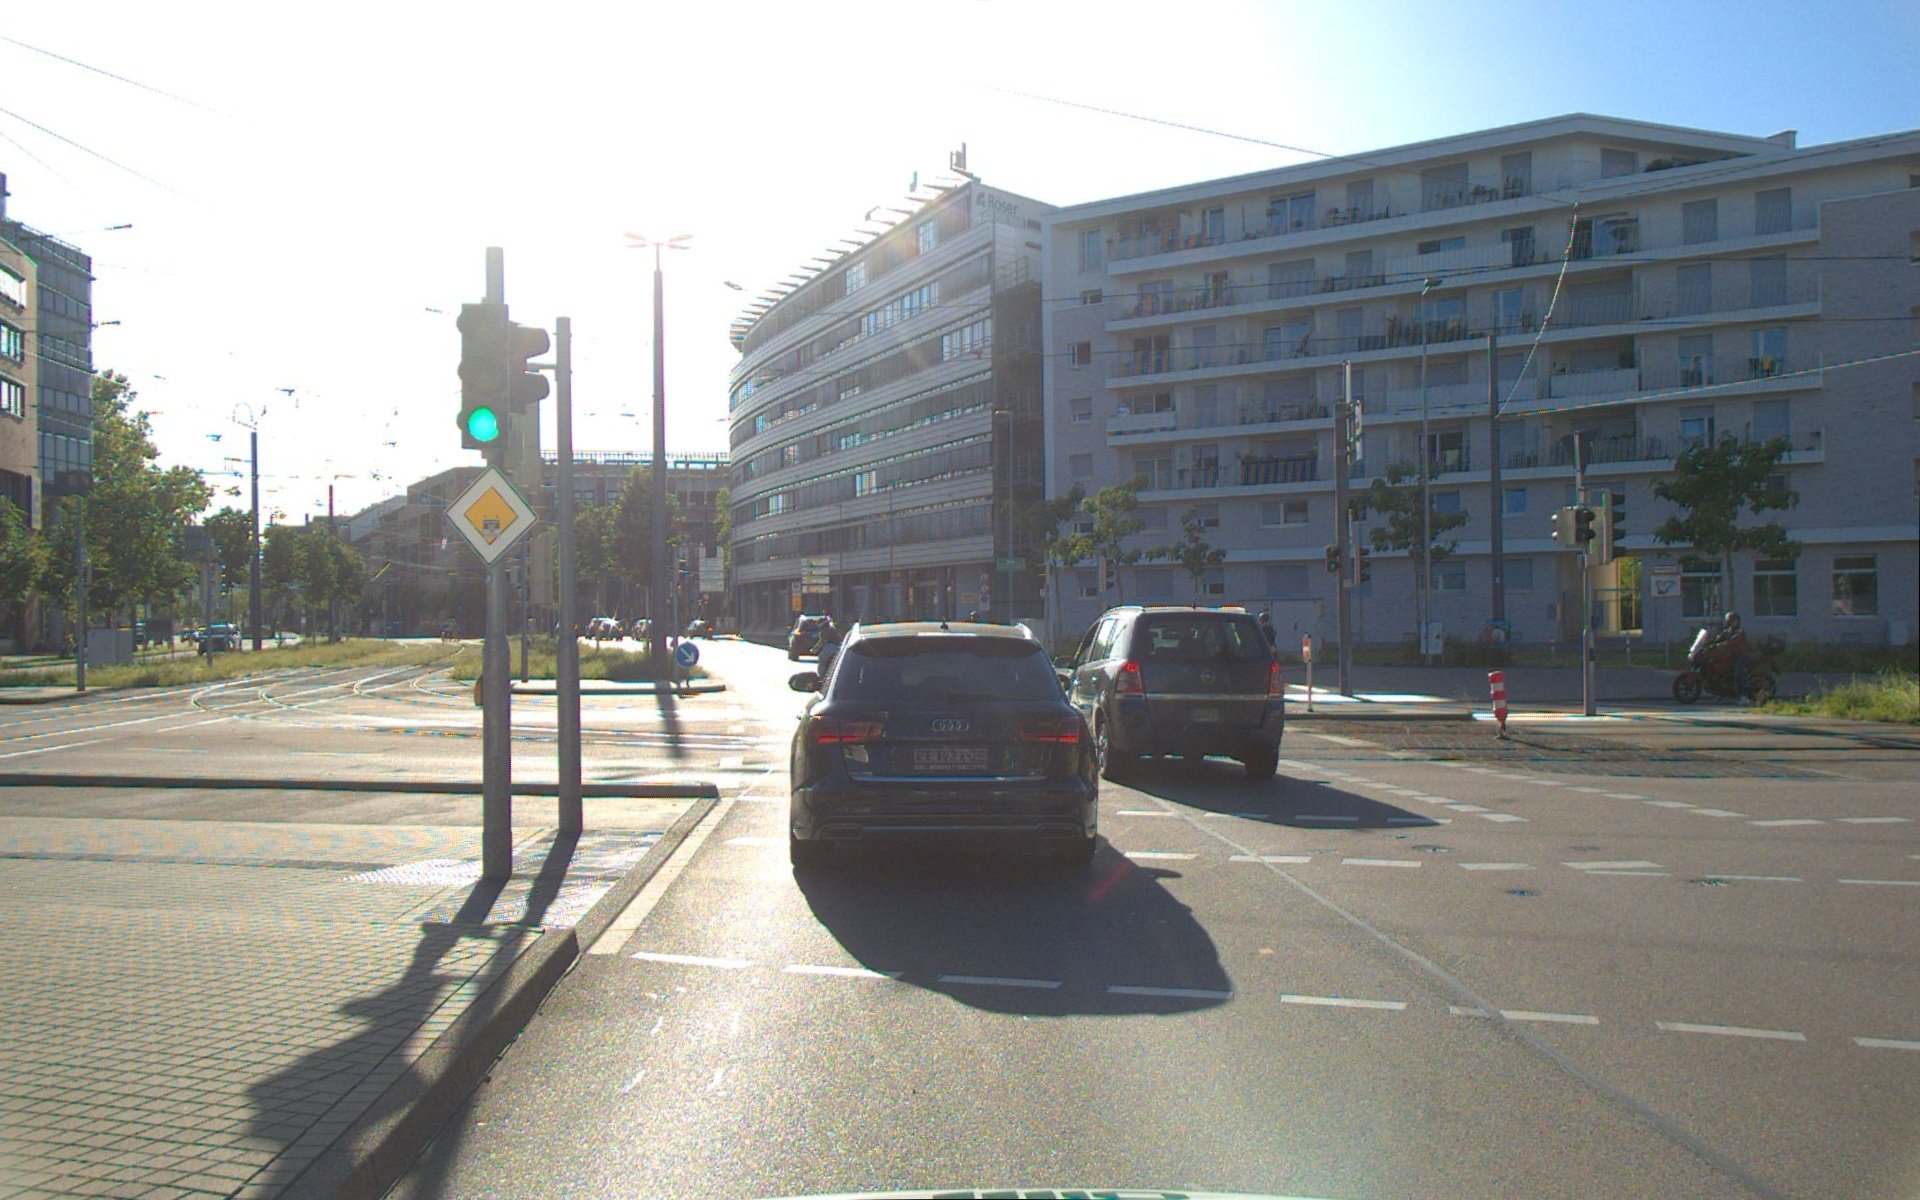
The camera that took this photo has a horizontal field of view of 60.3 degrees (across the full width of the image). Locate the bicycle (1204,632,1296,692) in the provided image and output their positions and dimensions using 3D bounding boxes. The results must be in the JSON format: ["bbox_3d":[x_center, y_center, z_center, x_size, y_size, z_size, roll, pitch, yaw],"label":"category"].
[{"bbox_3d":[6.479,1.375,37.038,0.760,1.284,2.055,0,-1,-36],"label":"bicycle"}]

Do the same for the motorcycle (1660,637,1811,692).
[{"bbox_3d":[15.158,1.249,32.396,2.401,1.018,1.172,-1,-1,3],"label":"motorcycle"}]

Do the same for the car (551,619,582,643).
[{"bbox_3d":[-30.752,2.417,129.228,1.963,1.736,3.978,-1,-1,-19],"label":"car"}]

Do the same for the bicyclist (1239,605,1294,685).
[{"bbox_3d":[6.781,0.986,36.646,0.760,1.736,0.918,0,-1,-37],"label":"bicyclist"}]

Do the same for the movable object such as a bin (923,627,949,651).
[{"bbox_3d":[-1.382,2.223,93.912,1.048,1.355,1.114,-1,-2,-29],"label":"movable object such as a bin"}]

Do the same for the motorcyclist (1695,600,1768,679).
[{"bbox_3d":[15.105,0.773,32.399,0.905,1.507,1.172,-1,-1,3],"label":"motorcyclist"}]

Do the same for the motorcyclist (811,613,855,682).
[{"bbox_3d":[-2.539,0.945,33.110,0.845,1.349,0.681,-1,-1,-3],"label":"motorcyclist"}]

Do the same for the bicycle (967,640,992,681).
[{"bbox_3d":[0.544,1.647,45.664,0.640,1.061,1.930,-1,0,2],"label":"bicycle"}]

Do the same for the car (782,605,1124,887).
[{"bbox_3d":[-0.068,0.788,10.825,1.805,1.479,3.999,1,0,-1],"label":"car"}]

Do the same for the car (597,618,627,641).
[{"bbox_3d":[-26.105,2.230,124.075,1.961,1.624,3.982,-1,-1,-16],"label":"car"}]

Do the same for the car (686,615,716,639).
[{"bbox_3d":[-21.052,2.186,134.237,1.961,1.870,3.982,-1,-1,-16],"label":"car"}]

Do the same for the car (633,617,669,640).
[{"bbox_3d":[-22.766,2.120,121.780,1.964,1.624,3.977,-1,-1,-19],"label":"car"}]

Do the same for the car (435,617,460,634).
[{"bbox_3d":[-55.785,2.827,180.088,1.957,1.736,3.990,-1,-1,-10],"label":"car"}]

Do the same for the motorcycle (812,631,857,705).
[{"bbox_3d":[-2.493,1.341,33.120,0.845,1.417,1.892,-1,-1,-3],"label":"motorcycle"}]

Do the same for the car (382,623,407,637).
[{"bbox_3d":[-69.383,3.637,202.895,1.975,1.669,4.362,0,-1,-32],"label":"car"}]

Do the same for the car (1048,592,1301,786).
[{"bbox_3d":[2.070,0.837,17.157,1.712,1.726,4.256,1,-1,-5],"label":"car"}]

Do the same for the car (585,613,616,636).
[{"bbox_3d":[-28.188,1.937,129.711,1.963,1.736,3.978,-1,-1,-19],"label":"car"}]

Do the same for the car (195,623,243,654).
[{"bbox_3d":[-40.936,2.122,91.459,1.963,1.669,4.387,0,-1,-19],"label":"car"}]

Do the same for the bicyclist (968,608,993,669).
[{"bbox_3d":[0.575,1.051,45.669,0.640,1.671,0.972,-1,0,2],"label":"bicyclist"}]

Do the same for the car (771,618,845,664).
[{"bbox_3d":[-6.227,1.659,67.363,1.974,1.745,4.346,1,0,-20],"label":"car"}]

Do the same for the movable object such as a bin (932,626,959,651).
[{"bbox_3d":[-0.817,2.179,92.868,1.048,1.355,1.114,-1,-2,-29],"label":"movable object such as a bin"}]

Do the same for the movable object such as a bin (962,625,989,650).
[{"bbox_3d":[0.859,2.041,89.763,1.048,1.355,1.114,-1,-2,-29],"label":"movable object such as a bin"}]

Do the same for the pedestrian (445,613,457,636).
[{"bbox_3d":[-41.859,1.980,135.958,0.888,1.856,0.825,-1,-2,-18],"label":"pedestrian"}]
